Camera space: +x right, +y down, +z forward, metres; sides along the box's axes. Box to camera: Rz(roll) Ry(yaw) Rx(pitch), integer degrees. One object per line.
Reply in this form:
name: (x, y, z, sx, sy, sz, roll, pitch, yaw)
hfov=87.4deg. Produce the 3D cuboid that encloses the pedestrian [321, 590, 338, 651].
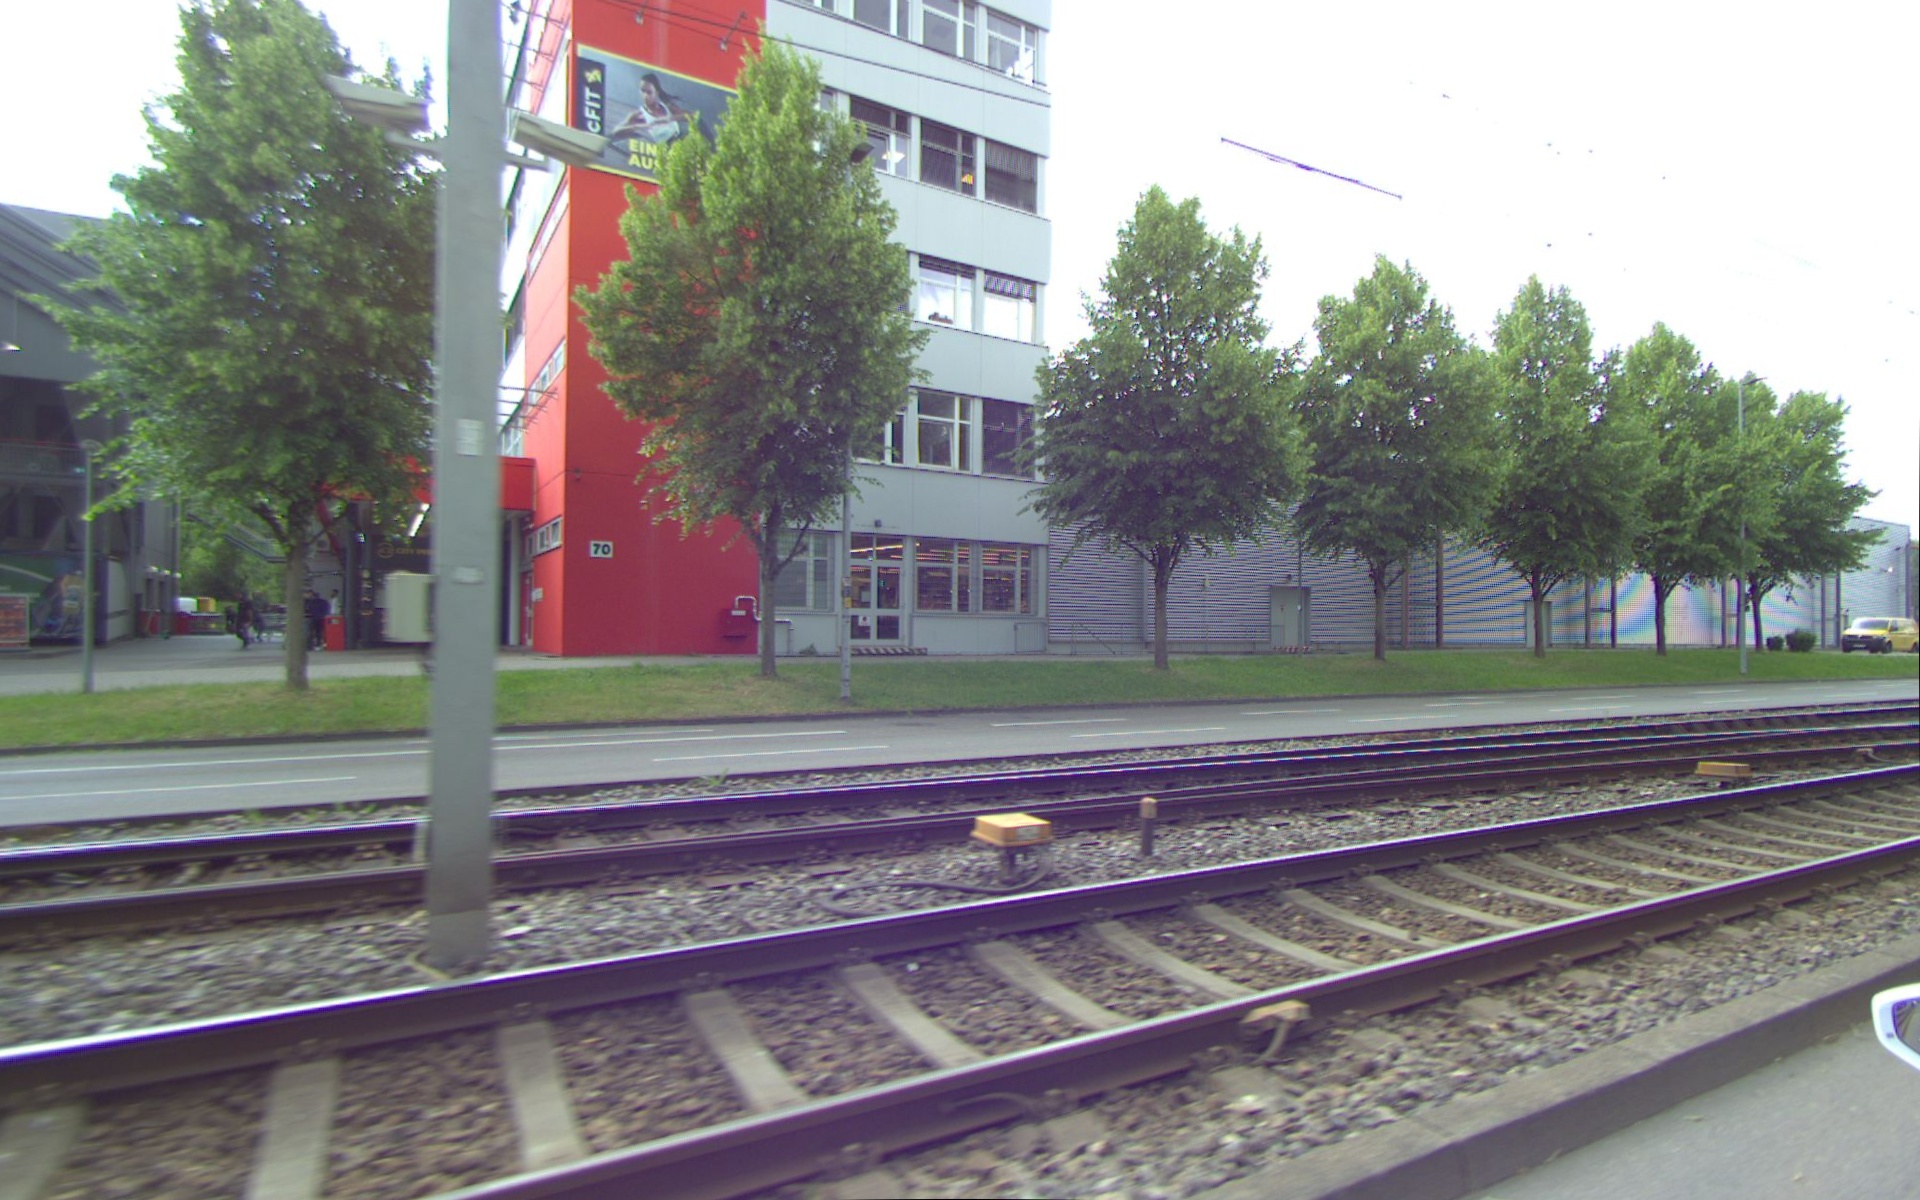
pedestrian: (-19.189, 0.616, 30.575, 0.373, 1.821, 0.593, 1, -1, -30)

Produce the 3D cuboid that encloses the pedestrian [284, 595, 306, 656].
pedestrian: (-19.965, 0.755, 30.161, 0.486, 1.821, 0.375, 1, -1, -27)

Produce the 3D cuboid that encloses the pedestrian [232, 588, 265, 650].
pedestrian: (-22.818, 0.598, 32.212, 0.573, 1.952, 0.654, 0, -1, 29)

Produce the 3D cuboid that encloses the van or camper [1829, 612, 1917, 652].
van or camper: (48.768, 1.731, 53.613, 5.183, 2.040, 2.093, 2, -1, -31)

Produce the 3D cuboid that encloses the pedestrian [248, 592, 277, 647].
pedestrian: (-25.151, 0.692, 36.235, 0.573, 1.952, 0.654, 0, -1, 29)
